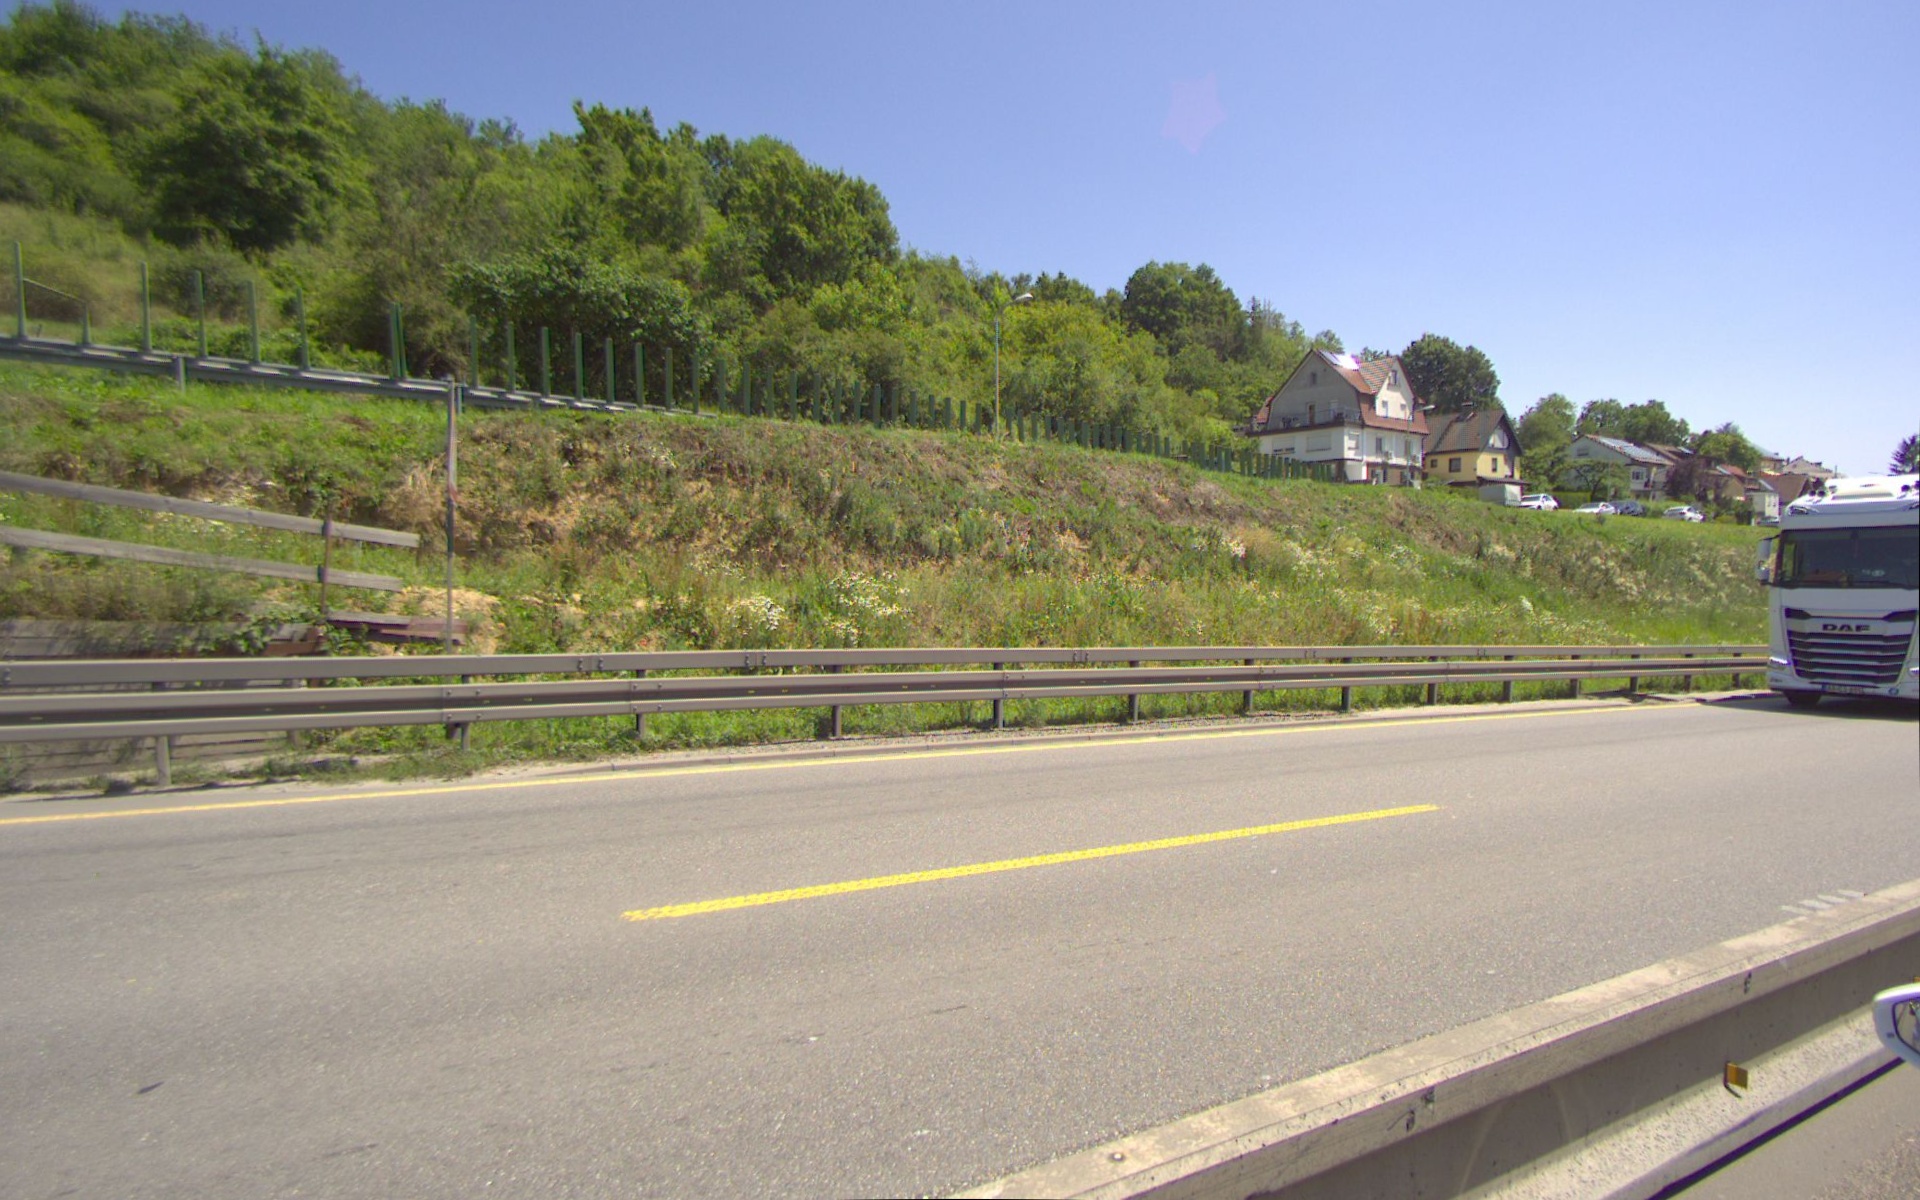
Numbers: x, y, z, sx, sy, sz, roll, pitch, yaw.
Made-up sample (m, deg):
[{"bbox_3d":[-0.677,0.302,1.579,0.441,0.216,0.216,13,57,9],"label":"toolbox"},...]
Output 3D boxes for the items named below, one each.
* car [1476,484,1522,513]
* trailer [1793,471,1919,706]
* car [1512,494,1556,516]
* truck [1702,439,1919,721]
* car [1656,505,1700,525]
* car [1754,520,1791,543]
[{"bbox_3d":[33.218,-6.240,61.860,1.707,1.417,3.784,4,2,39],"label":"car"},{"bbox_3d":[22.796,-0.084,21.531,13.249,4.214,3.205,1,0,-30],"label":"trailer"},{"bbox_3d":[36.831,-6.075,64.460,3.244,1.052,1.271,1,0,-37],"label":"car"},{"bbox_3d":[16.785,-0.225,18.041,6.408,4.294,3.165,2,0,-30],"label":"truck"},{"bbox_3d":[58.059,-6.868,81.247,3.969,1.337,1.976,1,4,-41],"label":"car"},{"bbox_3d":[74.316,-6.226,91.866,3.968,1.751,1.908,1,0,-41],"label":"car"}]
